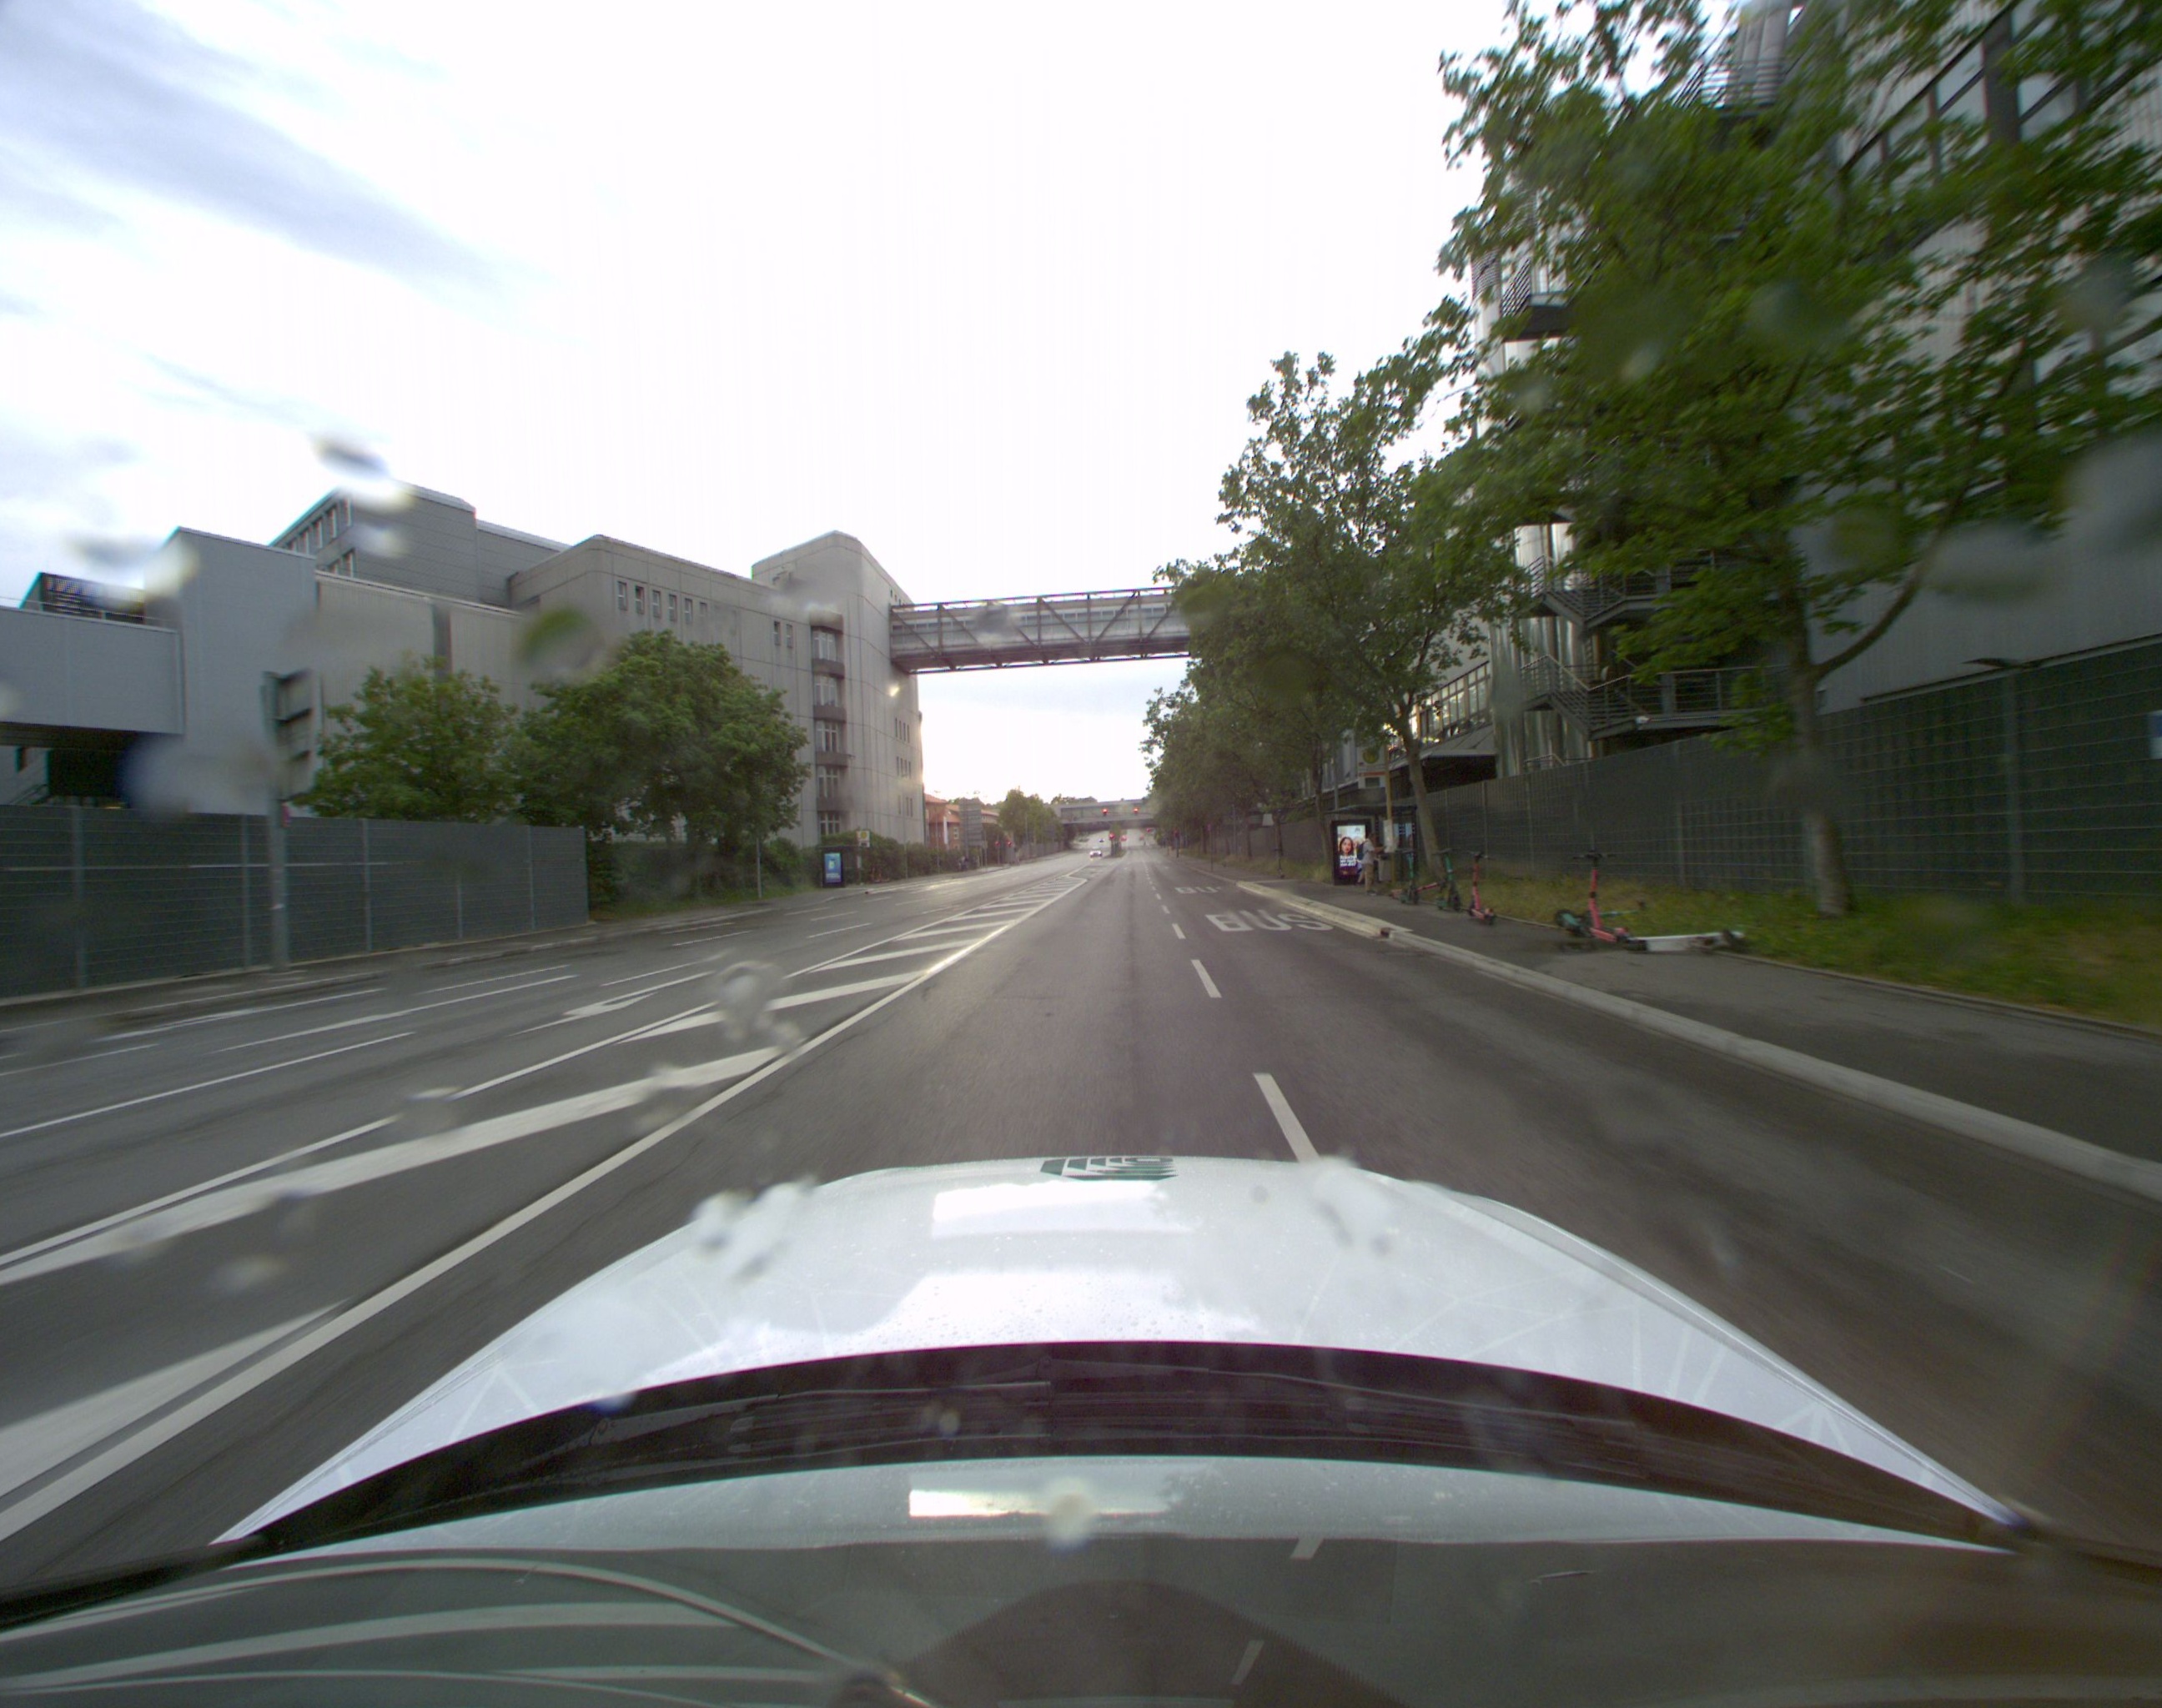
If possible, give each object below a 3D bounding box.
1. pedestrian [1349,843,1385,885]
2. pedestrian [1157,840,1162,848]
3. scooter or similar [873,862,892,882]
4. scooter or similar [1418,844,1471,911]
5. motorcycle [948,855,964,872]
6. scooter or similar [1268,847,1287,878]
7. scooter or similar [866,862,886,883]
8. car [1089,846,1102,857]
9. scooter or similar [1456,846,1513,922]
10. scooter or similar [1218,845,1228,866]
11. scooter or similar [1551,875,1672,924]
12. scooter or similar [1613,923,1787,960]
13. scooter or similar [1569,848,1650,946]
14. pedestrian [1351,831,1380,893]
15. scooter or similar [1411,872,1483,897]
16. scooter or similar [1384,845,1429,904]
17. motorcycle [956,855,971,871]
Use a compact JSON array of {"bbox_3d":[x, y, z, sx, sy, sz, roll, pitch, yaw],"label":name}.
[{"bbox_3d":[9.273,0.328,26.444,0.945,1.316,0.687,-3,0,10],"label":"pedestrian"},{"bbox_3d":[20.967,-2.648,218.118,1.049,2.013,1.155,-3,0,14],"label":"pedestrian"},{"bbox_3d":[-13.514,1.199,55.457,0.494,1.252,1.926,-3,0,9],"label":"scooter or similar"},{"bbox_3d":[7.414,0.456,16.683,0.473,1.293,1.435,-3,0,4],"label":"scooter or similar"},{"bbox_3d":[-12.193,0.910,79.485,0.910,1.532,3.301,-3,0,2],"label":"motorcycle"},{"bbox_3d":[8.398,0.354,34.772,0.694,1.244,1.929,-3,0,15],"label":"scooter or similar"},{"bbox_3d":[-13.429,1.200,53.411,0.521,1.252,1.804,-3,0,9],"label":"scooter or similar"},{"bbox_3d":[2.406,-0.412,133.096,1.987,1.772,4.000,-3,0,0],"label":"car"},{"bbox_3d":[7.102,0.510,14.372,0.431,1.270,1.195,-3,0,4],"label":"scooter or similar"},{"bbox_3d":[9.891,0.088,56.819,0.605,1.366,1.926,-3,0,9],"label":"scooter or similar"},{"bbox_3d":[8.638,0.718,13.328,0.656,0.713,1.511,-3,0,-27],"label":"scooter or similar"},{"bbox_3d":[7.184,1.007,9.537,0.654,0.246,1.515,-3,0,-18],"label":"scooter or similar"},{"bbox_3d":[7.006,0.542,10.844,0.387,1.226,1.075,-3,0,4],"label":"scooter or similar"},{"bbox_3d":[7.773,0.210,22.275,0.479,1.667,0.662,-3,0,1],"label":"pedestrian"},{"bbox_3d":[8.915,0.734,19.899,1.548,0.519,0.647,-3,0,20],"label":"scooter or similar"},{"bbox_3d":[7.495,0.446,18.800,0.500,1.293,1.435,-3,0,4],"label":"scooter or similar"},{"bbox_3d":[-11.956,0.881,83.066,0.955,1.556,3.301,-3,0,2],"label":"motorcycle"}]
